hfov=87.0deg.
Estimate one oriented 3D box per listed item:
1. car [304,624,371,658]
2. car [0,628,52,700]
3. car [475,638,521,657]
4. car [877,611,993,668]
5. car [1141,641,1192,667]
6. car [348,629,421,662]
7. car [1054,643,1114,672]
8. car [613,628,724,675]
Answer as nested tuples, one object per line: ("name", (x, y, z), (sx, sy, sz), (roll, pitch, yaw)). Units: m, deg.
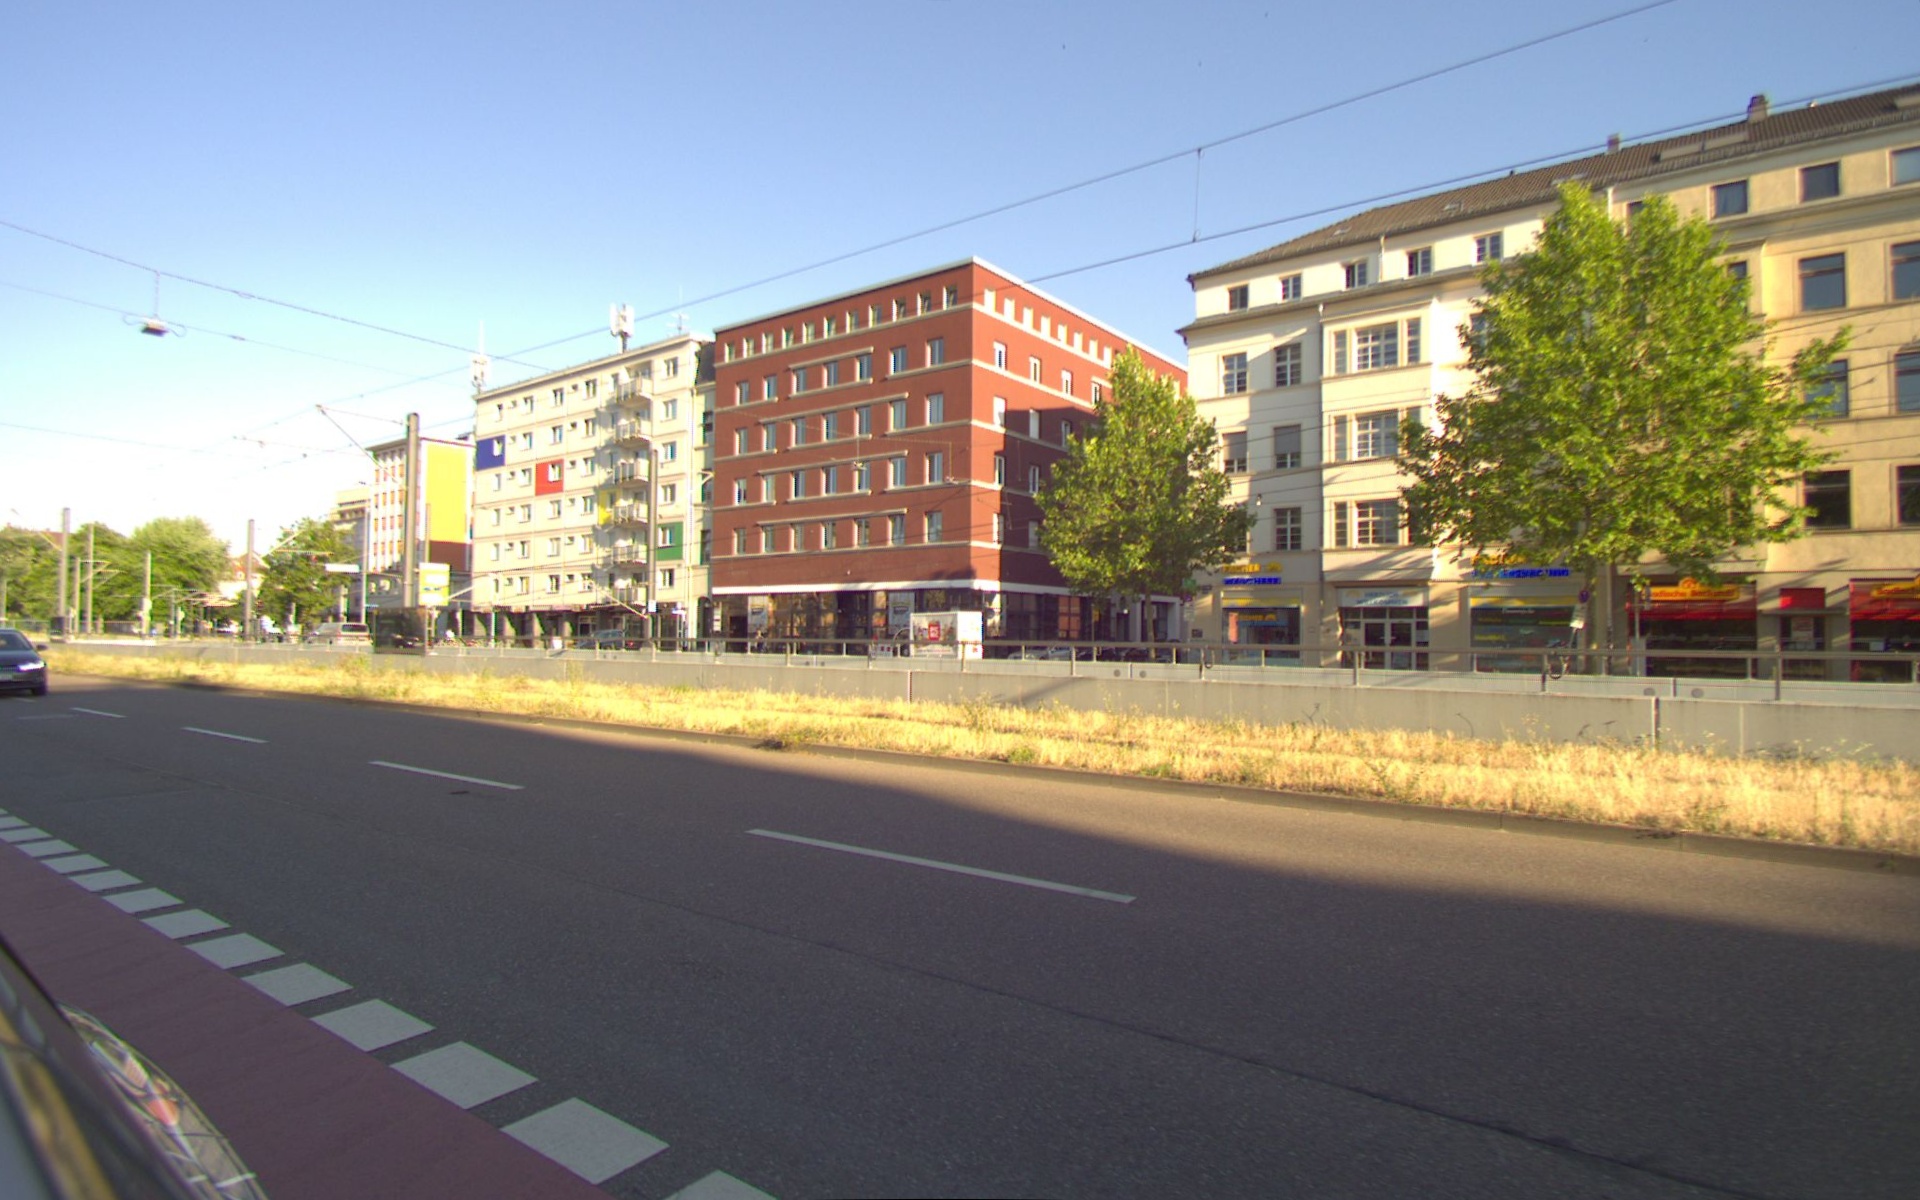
("car", (-39.136, 2.565, 63.570), (4.766, 2.029, 1.975), (-1, -3, 37))
("car", (-20.933, 1.341, 21.352), (4.235, 1.437, 1.750), (-2, -2, 35))
("car", (-47.164, 4.860, 103.422), (1.740, 1.794, 3.950), (-1, 0, 37))
("car", (-1.043, 1.575, 40.454), (4.571, 2.150, 1.932), (-2, -3, 41))
("car", (12.373, 3.206, 60.496), (1.452, 1.506, 3.825), (-2, -3, 38))
("car", (-32.636, 2.564, 57.330), (4.889, 1.811, 1.974), (-2, -3, 39))
("car", (6.768, 3.112, 54.922), (1.640, 1.506, 3.539), (-2, -3, 38))
("car", (-12.198, 2.108, 42.147), (4.974, 1.833, 1.973), (-2, -3, 40))
